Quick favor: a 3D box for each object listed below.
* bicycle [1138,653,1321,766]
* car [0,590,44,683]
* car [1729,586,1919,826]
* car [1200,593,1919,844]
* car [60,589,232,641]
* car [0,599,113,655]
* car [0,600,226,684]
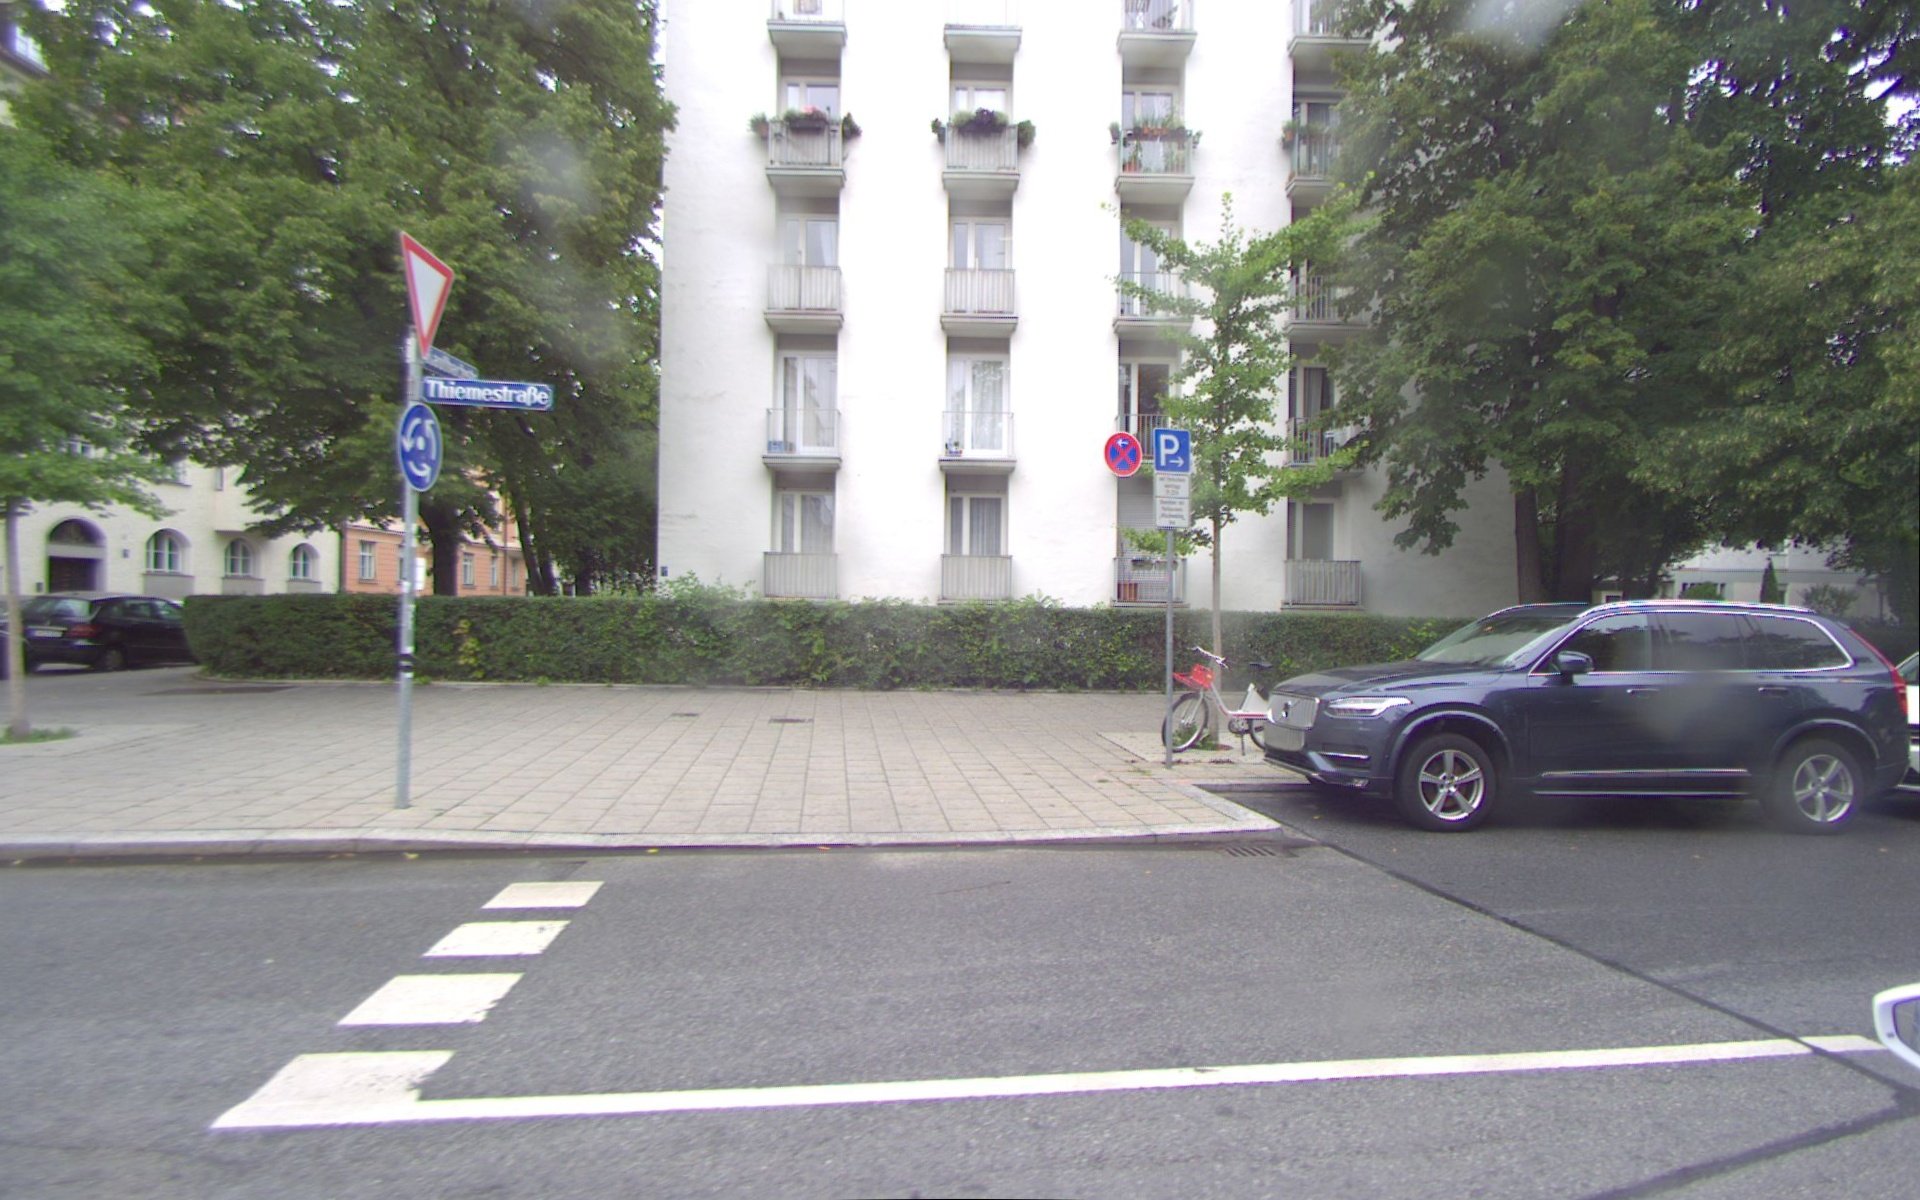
[{"bbox_3d":[2.854,1.131,10.669,1.756,1.099,0.751,1,-1,-18],"label":"bicycle"},{"bbox_3d":[-16.783,0.623,15.676,1.643,1.548,3.676,-1,-1,-2],"label":"car"},{"bbox_3d":[10.033,0.910,9.102,4.768,1.929,2.088,1,-1,-7],"label":"car"},{"bbox_3d":[4.858,0.885,8.268,5.204,1.742,2.089,1,-1,-5],"label":"car"},{"bbox_3d":[-24.980,0.460,31.039,1.961,1.469,4.179,1,-1,-2],"label":"car"},{"bbox_3d":[-24.757,0.672,25.985,1.961,1.376,4.477,1,-1,-2],"label":"car"},{"bbox_3d":[-17.327,0.814,20.792,1.643,1.548,3.676,-1,-1,-2],"label":"car"}]
